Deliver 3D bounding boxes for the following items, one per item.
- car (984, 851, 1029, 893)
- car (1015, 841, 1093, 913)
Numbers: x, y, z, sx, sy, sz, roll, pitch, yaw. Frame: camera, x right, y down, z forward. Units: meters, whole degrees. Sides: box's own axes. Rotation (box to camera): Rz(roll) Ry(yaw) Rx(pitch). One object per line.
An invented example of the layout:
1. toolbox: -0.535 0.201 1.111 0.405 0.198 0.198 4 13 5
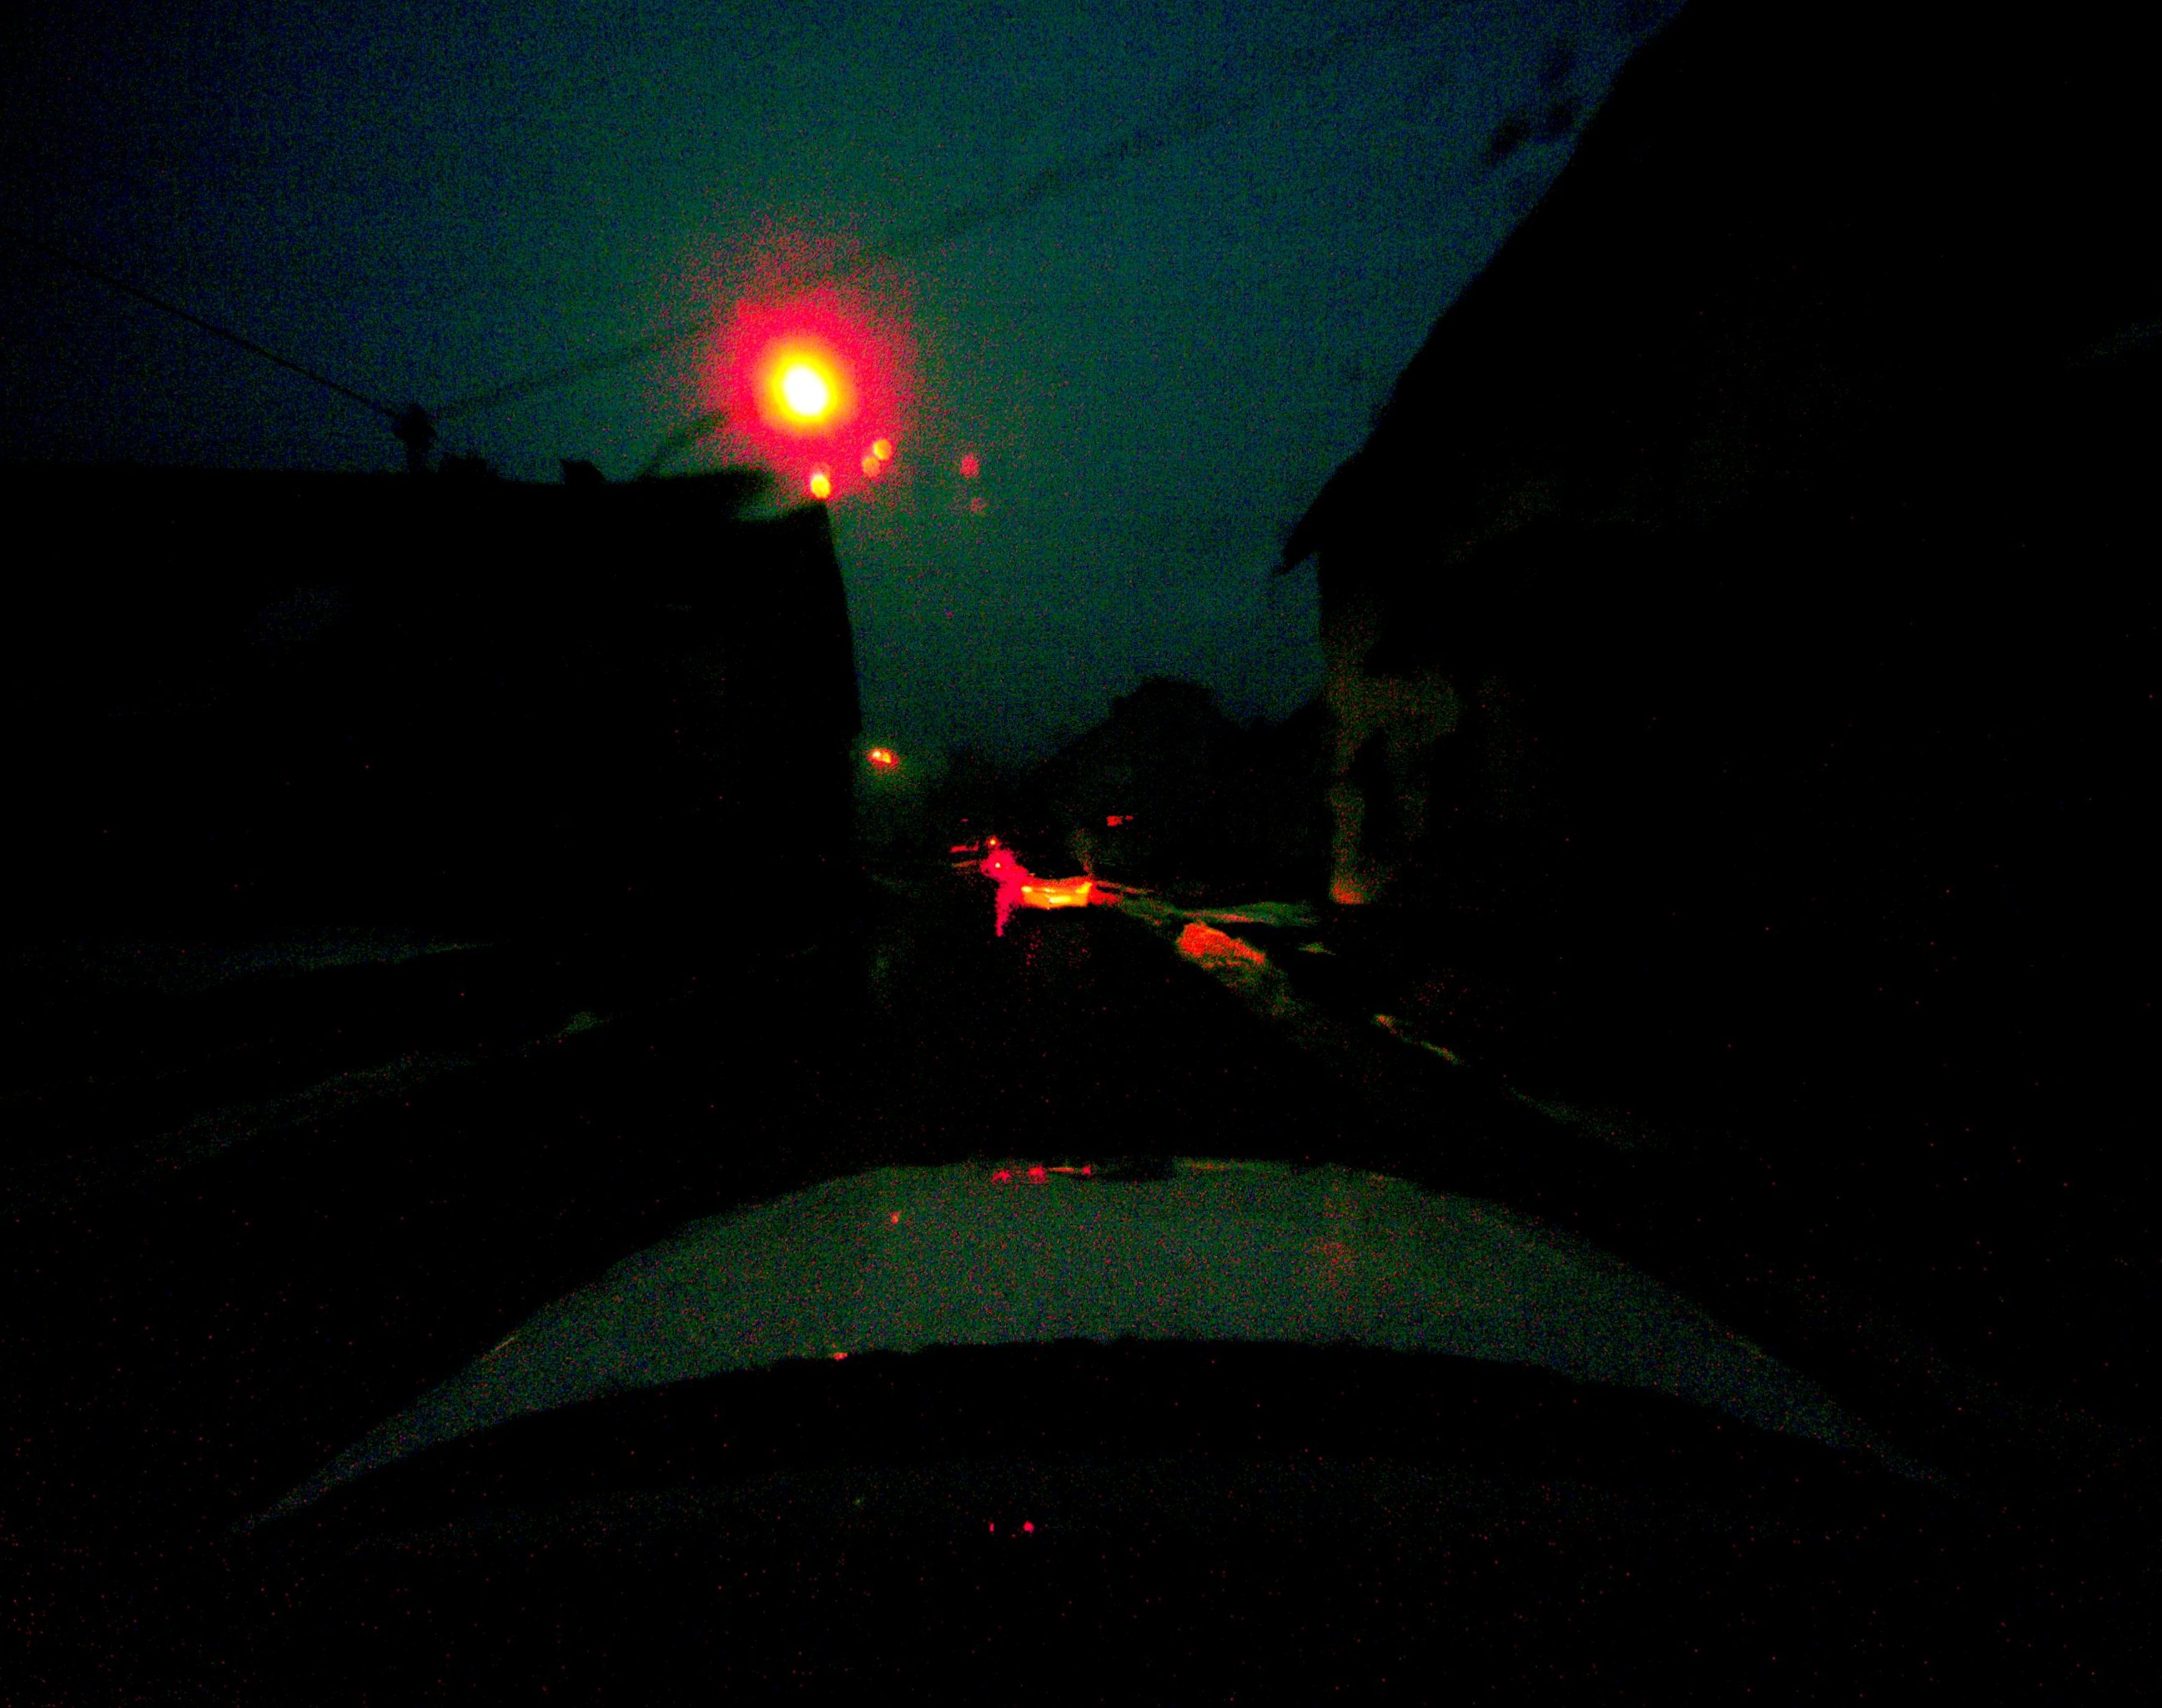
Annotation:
1. car: -3.109 0.751 33.616 1.644 1.596 3.688 1 -2 -8
2. car: -0.752 0.571 20.297 1.643 1.596 3.690 1 -2 -7
